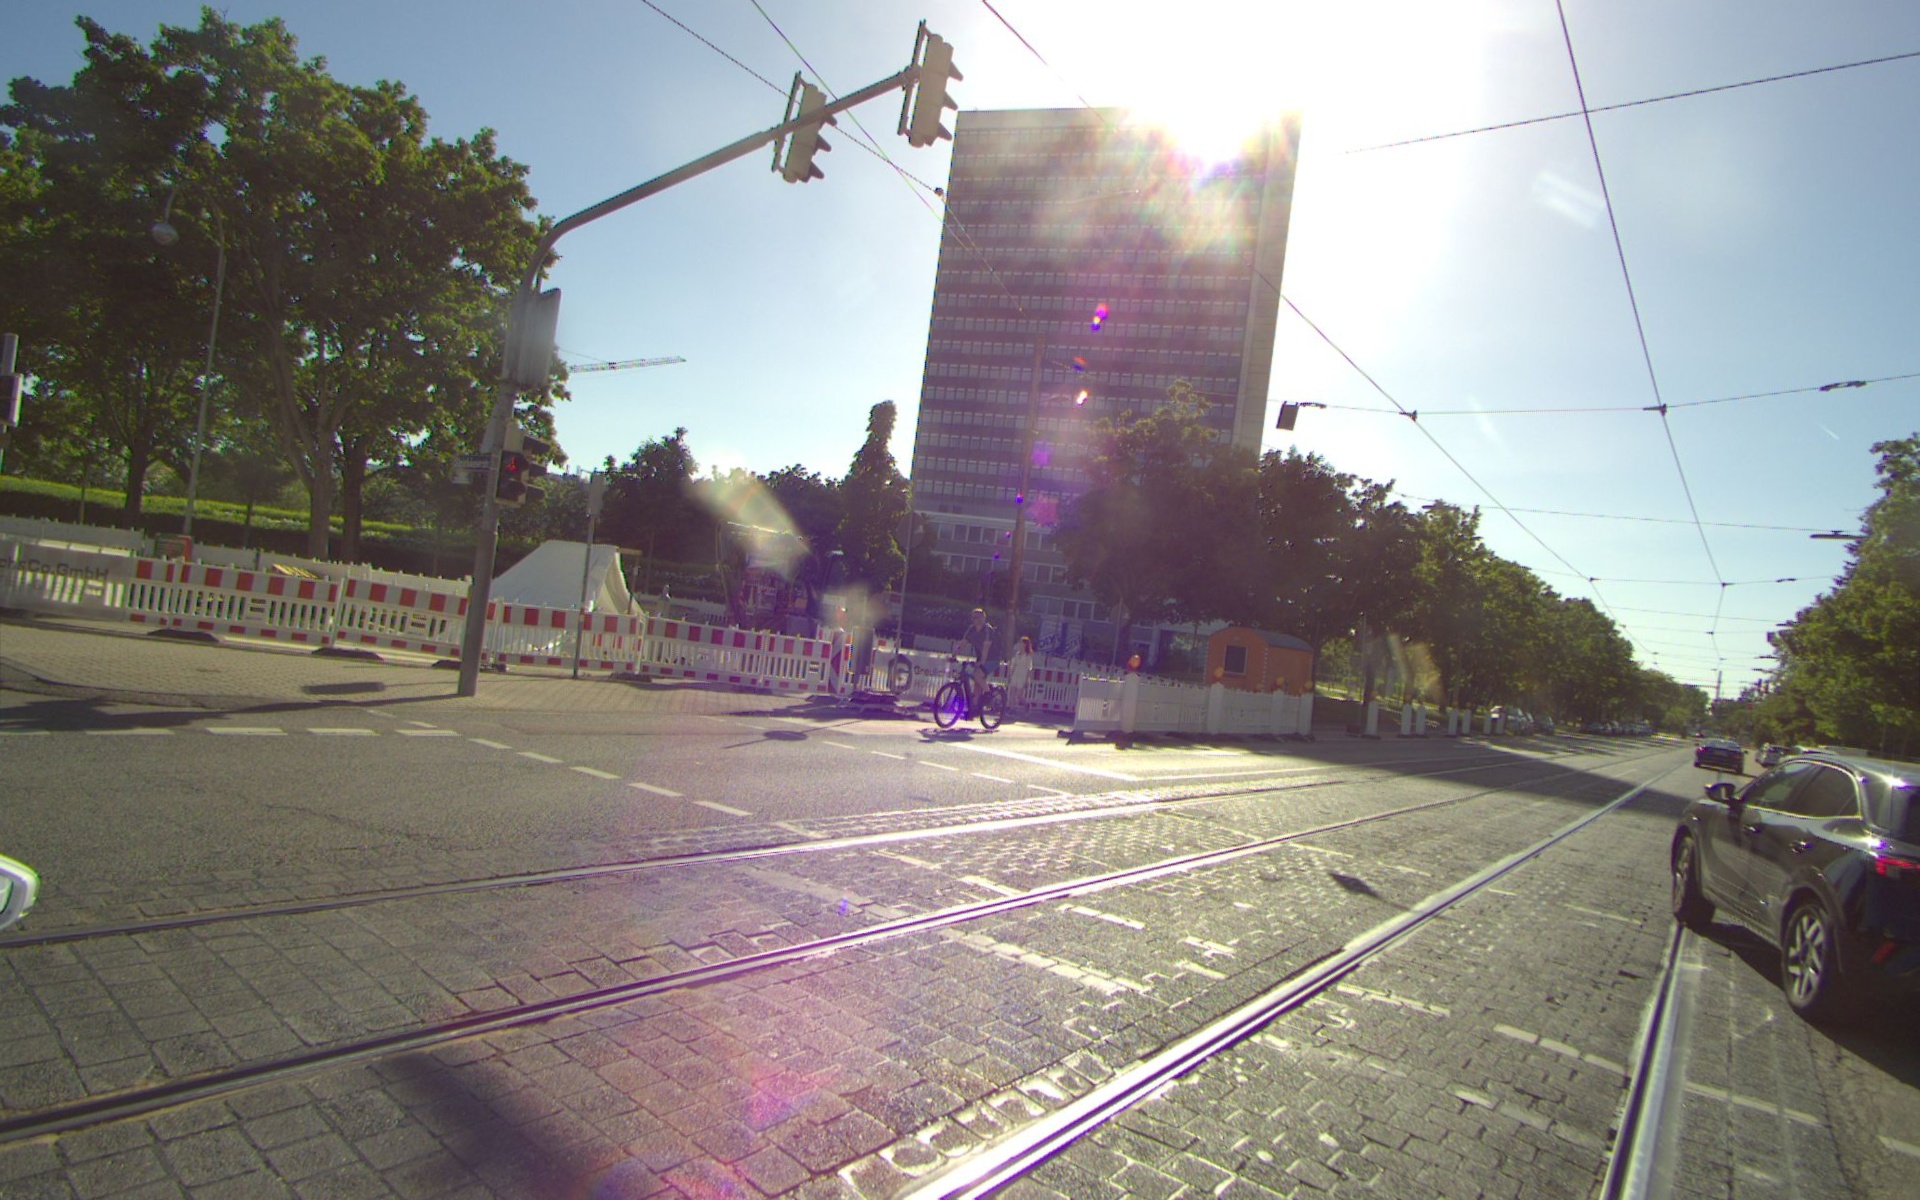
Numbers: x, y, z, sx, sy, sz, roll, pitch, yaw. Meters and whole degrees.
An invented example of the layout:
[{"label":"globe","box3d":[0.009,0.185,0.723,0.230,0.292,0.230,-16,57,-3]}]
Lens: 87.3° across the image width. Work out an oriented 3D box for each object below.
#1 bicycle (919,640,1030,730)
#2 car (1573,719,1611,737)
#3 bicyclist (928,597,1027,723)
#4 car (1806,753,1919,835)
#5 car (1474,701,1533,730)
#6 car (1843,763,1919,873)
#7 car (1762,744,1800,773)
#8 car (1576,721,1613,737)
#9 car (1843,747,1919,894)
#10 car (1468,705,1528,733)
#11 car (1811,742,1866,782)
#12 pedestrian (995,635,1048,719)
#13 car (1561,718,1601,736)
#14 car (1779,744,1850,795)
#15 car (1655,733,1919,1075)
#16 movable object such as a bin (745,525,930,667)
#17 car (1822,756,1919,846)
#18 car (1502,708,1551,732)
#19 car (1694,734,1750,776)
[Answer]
[{"label":"bicycle","box3d":[0.259,1.376,16.081,0.645,1.281,1.777,8,0,40]},{"label":"car","box3d":[66.897,13.548,106.530,3.285,1.334,1.397,6,-2,35]},{"label":"bicyclist","box3d":[0.286,0.972,16.150,0.901,1.853,1.092,8,0,38]},{"label":"car","box3d":[22.621,4.811,25.330,1.460,1.478,3.362,9,0,33]},{"label":"car","box3d":[32.578,6.906,60.327,2.858,1.263,1.253,6,-2,35]},{"label":"car","box3d":[16.878,3.857,17.567,1.630,1.550,3.498,9,0,35]},{"label":"car","box3d":[53.814,10.373,65.990,1.738,1.473,3.681,7,-2,39]},{"label":"car","box3d":[70.258,14.261,111.453,3.285,1.264,1.449,6,-2,35]},{"label":"car","box3d":[13.510,3.017,13.557,1.906,1.639,4.309,7,-1,37]},{"label":"car","box3d":[31.263,6.916,58.491,2.858,1.190,1.253,6,-2,35]},{"label":"car","box3d":[45.338,8.324,51.976,1.784,1.694,3.863,7,-1,39]},{"label":"pedestrian","box3d":[1.250,1.577,20.573,0.627,1.620,0.636,7,0,44]},{"label":"car","box3d":[63.541,12.987,102.968,3.285,1.303,1.301,6,-2,35]},{"label":"car","box3d":[34.769,6.846,41.004,1.782,1.566,3.525,9,0,37]},{"label":"car","box3d":[6.118,1.830,6.493,1.755,1.534,3.757,7,-2,22]},{"label":"movable object such as a bin","box3d":[-3.435,-0.020,29.275,2.787,3.401,4.708,7,-2,29]},{"label":"car","box3d":[19.668,4.249,21.320,1.640,1.423,3.284,9,0,35]},{"label":"car","box3d":[40.733,8.652,72.358,2.897,1.264,1.404,6,-2,35]},{"label":"car","box3d":[34.201,6.913,45.110,1.784,1.519,3.863,7,-1,39]}]
